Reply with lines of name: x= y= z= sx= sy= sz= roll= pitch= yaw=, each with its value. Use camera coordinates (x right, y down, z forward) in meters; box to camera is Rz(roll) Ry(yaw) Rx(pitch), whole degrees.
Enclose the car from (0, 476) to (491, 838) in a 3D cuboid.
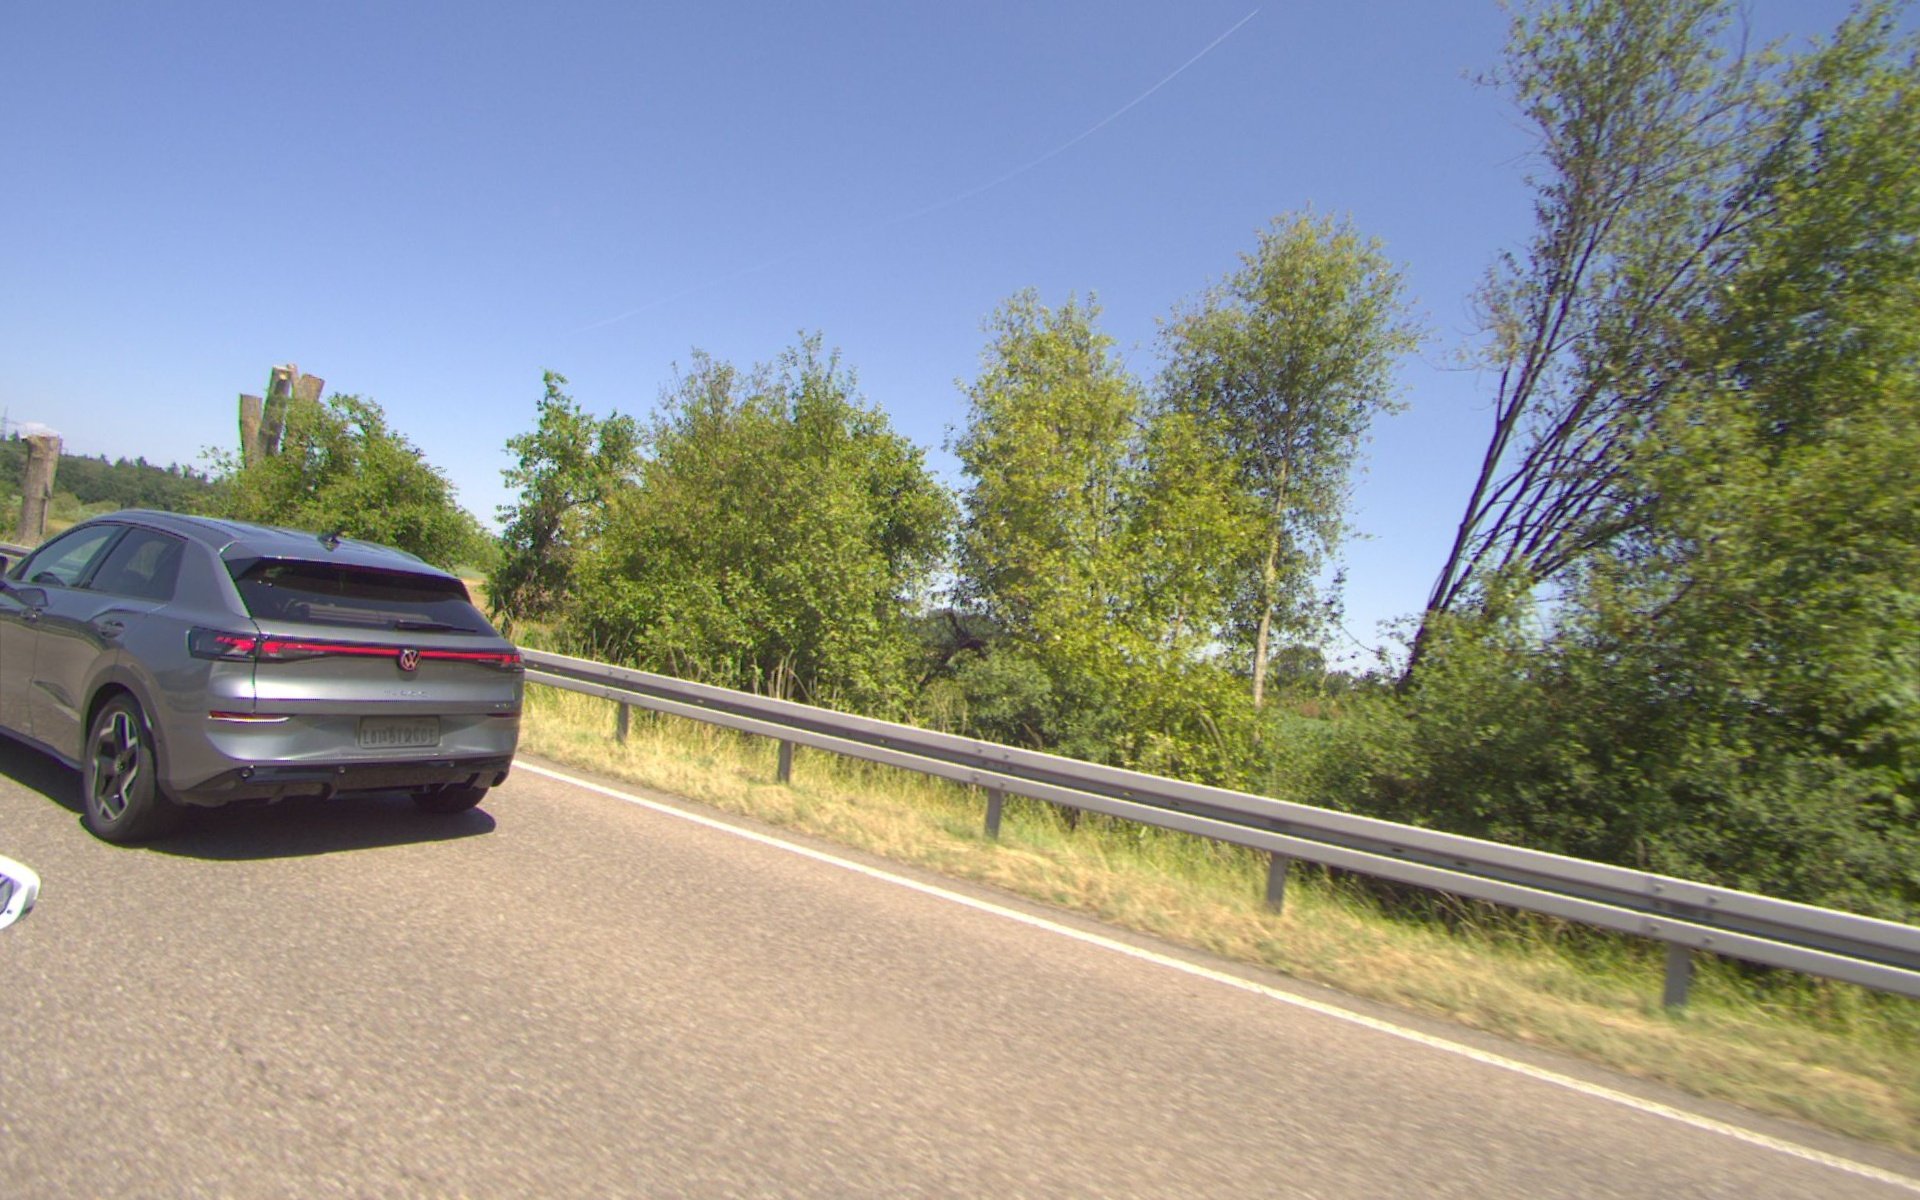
car: x=-5.080 y=0.161 z=6.354 sx=3.951 sy=1.571 sz=1.789 roll=8 pitch=-1 yaw=31
